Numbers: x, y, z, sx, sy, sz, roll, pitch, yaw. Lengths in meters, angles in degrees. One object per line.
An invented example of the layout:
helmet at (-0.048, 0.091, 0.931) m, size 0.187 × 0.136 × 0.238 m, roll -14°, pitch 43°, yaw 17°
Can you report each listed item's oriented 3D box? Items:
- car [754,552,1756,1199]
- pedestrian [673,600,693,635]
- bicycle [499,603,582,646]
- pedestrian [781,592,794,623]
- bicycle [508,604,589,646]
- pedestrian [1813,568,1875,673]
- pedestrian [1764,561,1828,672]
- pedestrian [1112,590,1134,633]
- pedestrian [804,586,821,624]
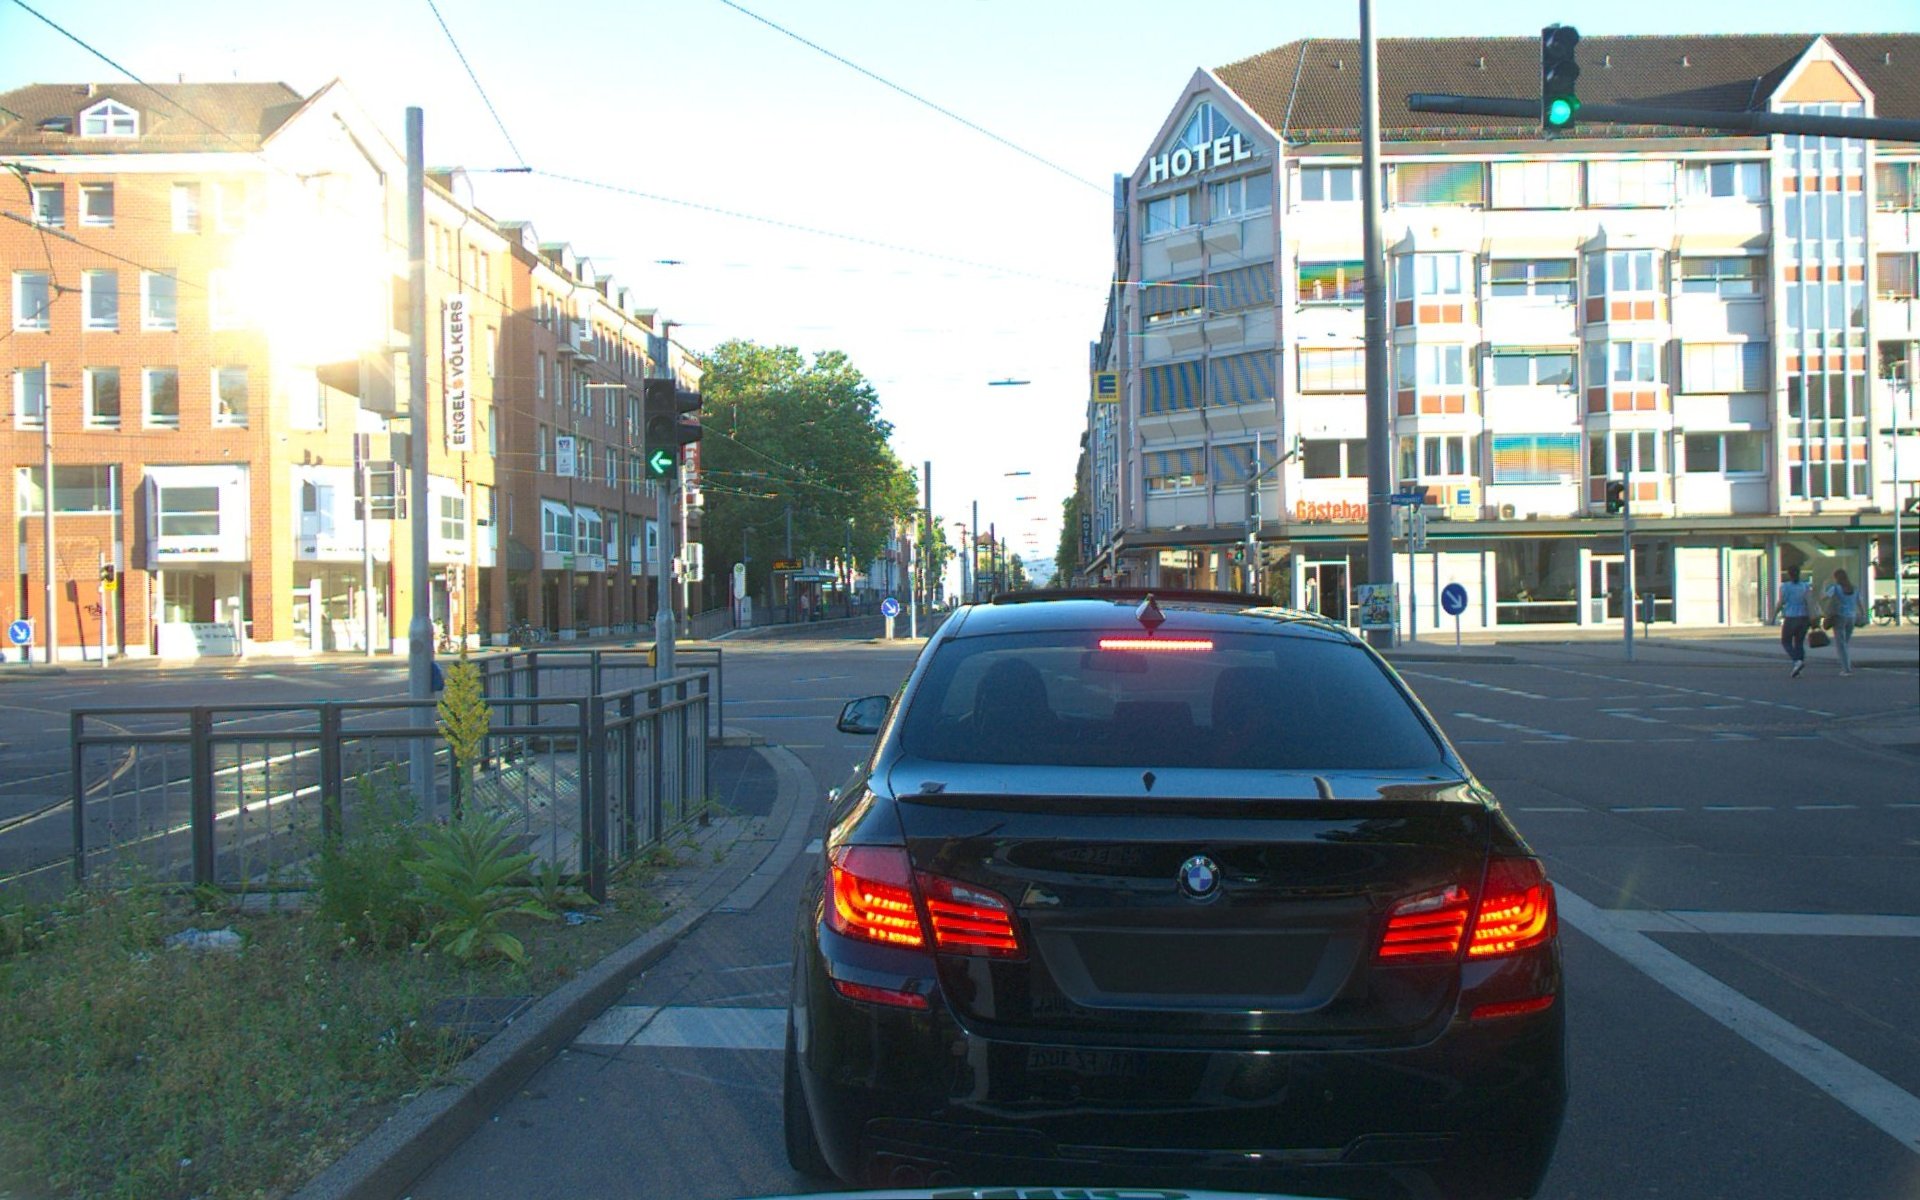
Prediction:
car at (0.507, 0.687, 5.138) m, size 1.803 × 1.521 × 4.291 m, roll 1°, pitch 0°, yaw -1°
pedestrian at (-16.955, 1.067, 101.289) m, size 1.063 × 2.049 × 1.084 m, roll -1°, pitch 0°, yaw -2°
bicycle at (-18.109, 1.065, 71.445) m, size 3.228 × 1.756 × 1.070 m, roll -1°, pitch 0°, yaw 3°
pedestrian at (-9.297, 0.406, 89.206) m, size 0.573 × 1.686 × 0.678 m, roll -1°, pitch 0°, yaw 0°
bicycle at (-18.042, 1.091, 72.613) m, size 3.229 × 1.756 × 1.069 m, roll -1°, pitch 0°, yaw 1°
pedestrian at (13.816, 0.316, 25.841) m, size 0.692 × 1.610 × 0.822 m, roll -2°, pitch 0°, yaw 38°
pedestrian at (12.901, 0.257, 25.517) m, size 0.713 × 1.678 × 0.768 m, roll -2°, pitch 0°, yaw 38°
pedestrian at (6.165, 0.424, 62.598) m, size 0.691 × 1.575 × 0.907 m, roll 0°, pitch 3°, yaw -1°
pedestrian at (-7.940, 0.257, 88.916) m, size 0.792 × 2.049 × 0.678 m, roll -1°, pitch 0°, yaw -1°
